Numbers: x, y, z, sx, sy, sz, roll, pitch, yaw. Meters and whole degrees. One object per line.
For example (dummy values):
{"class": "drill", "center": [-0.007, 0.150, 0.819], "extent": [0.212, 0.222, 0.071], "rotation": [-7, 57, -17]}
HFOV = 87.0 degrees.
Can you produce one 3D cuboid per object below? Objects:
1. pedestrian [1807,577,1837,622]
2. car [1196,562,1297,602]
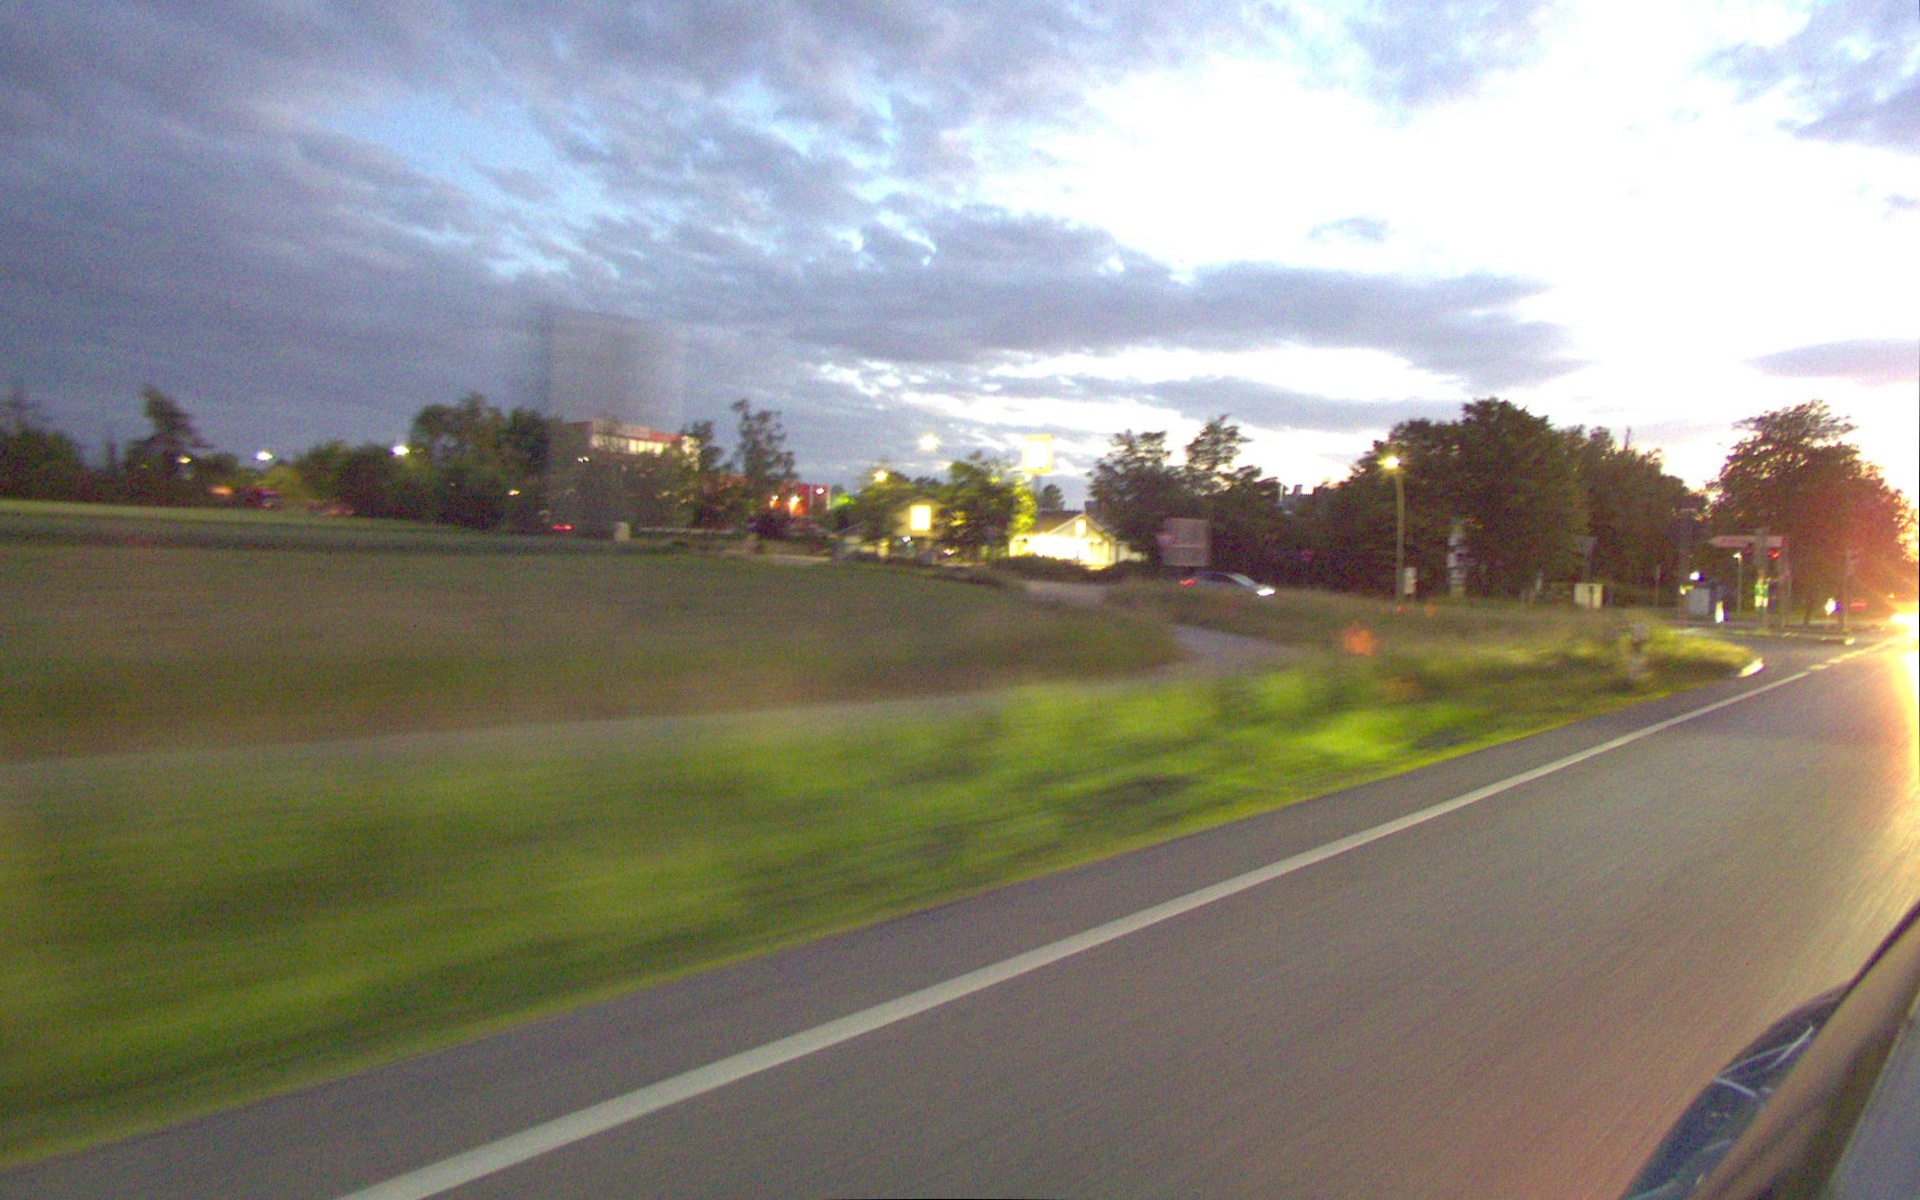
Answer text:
{"class": "pedestrian", "center": [39.418, -0.043, 46.273], "extent": [0.767, 2.039, 0.712], "rotation": [0, 0, 8]}
{"class": "car", "center": [13.726, -0.897, 48.516], "extent": [4.426, 1.684, 1.986], "rotation": [4, 3, 22]}
